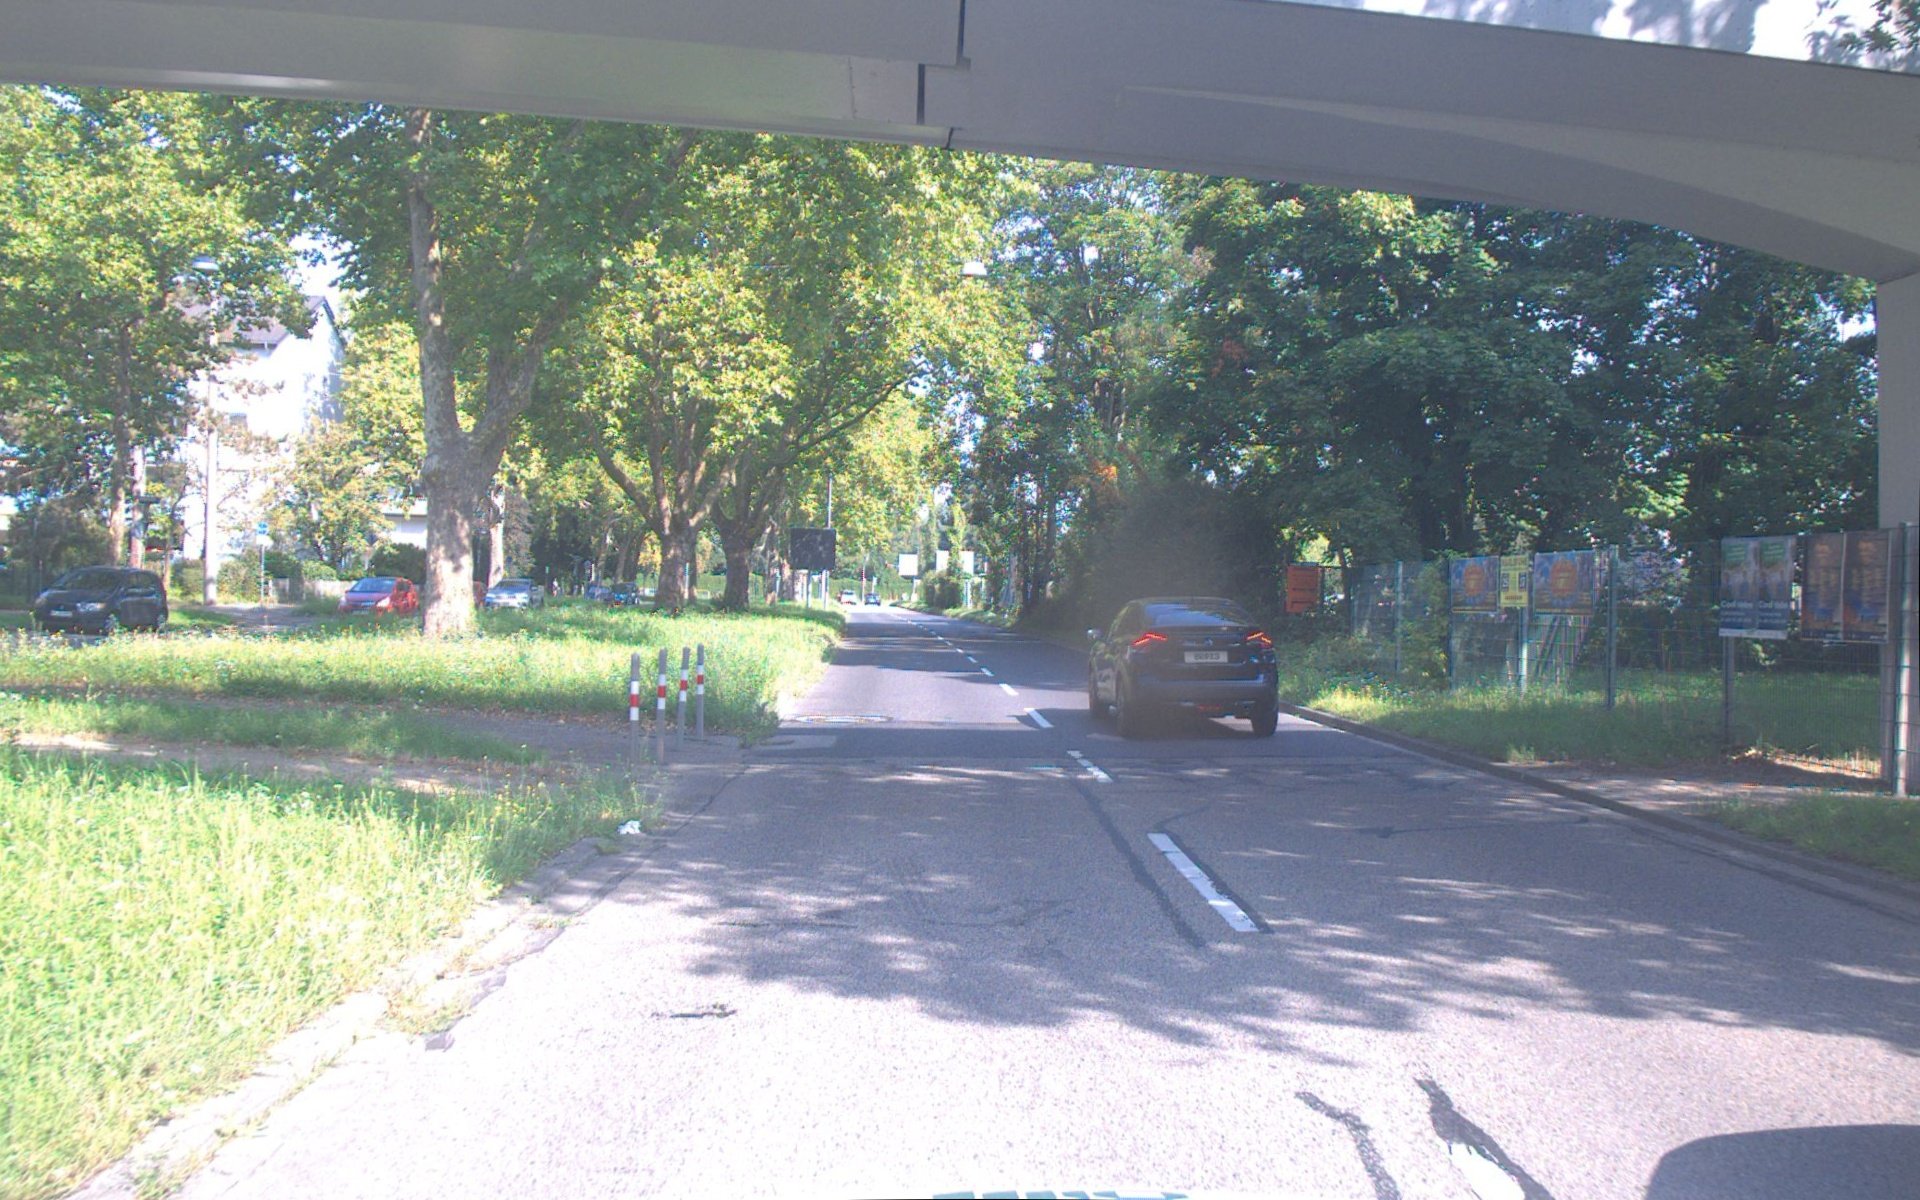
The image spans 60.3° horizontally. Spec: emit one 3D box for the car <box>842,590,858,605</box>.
[{"bbox_3d":[-11.836,-0.256,178.220,1.654,1.487,3.997,2,0,-4],"label":"car"}]

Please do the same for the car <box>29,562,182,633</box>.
[{"bbox_3d":[-20.091,-0.058,39.057,1.491,1.559,3.865,1,0,2],"label":"car"}]

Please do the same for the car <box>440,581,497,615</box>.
[{"bbox_3d":[-22.285,-0.087,75.135,1.508,1.477,4.062,2,0,-3],"label":"car"}]

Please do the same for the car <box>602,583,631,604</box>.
[{"bbox_3d":[-26.511,-0.482,127.844,1.666,1.595,3.996,1,0,-4],"label":"car"}]

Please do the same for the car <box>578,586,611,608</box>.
[{"bbox_3d":[-26.310,-0.217,119.267,1.666,1.534,4.536,1,0,-4],"label":"car"}]

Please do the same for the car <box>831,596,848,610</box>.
[{"bbox_3d":[-13.902,0.328,190.927,1.653,1.487,3.849,2,0,-1],"label":"car"}]

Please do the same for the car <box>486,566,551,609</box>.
[{"bbox_3d":[-19.022,-0.543,71.423,1.766,1.750,4.717,1,0,-3],"label":"car"}]

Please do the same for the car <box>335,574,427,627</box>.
[{"bbox_3d":[-18.098,0.007,51.852,1.657,1.559,4.066,1,0,-4],"label":"car"}]

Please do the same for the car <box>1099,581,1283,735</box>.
[{"bbox_3d":[2.621,0.619,19.625,1.611,1.616,4.255,1,0,0],"label":"car"}]

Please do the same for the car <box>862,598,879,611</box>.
[{"bbox_3d":[-10.198,0.466,189.158,1.763,1.425,3.995,2,0,-5],"label":"car"}]
